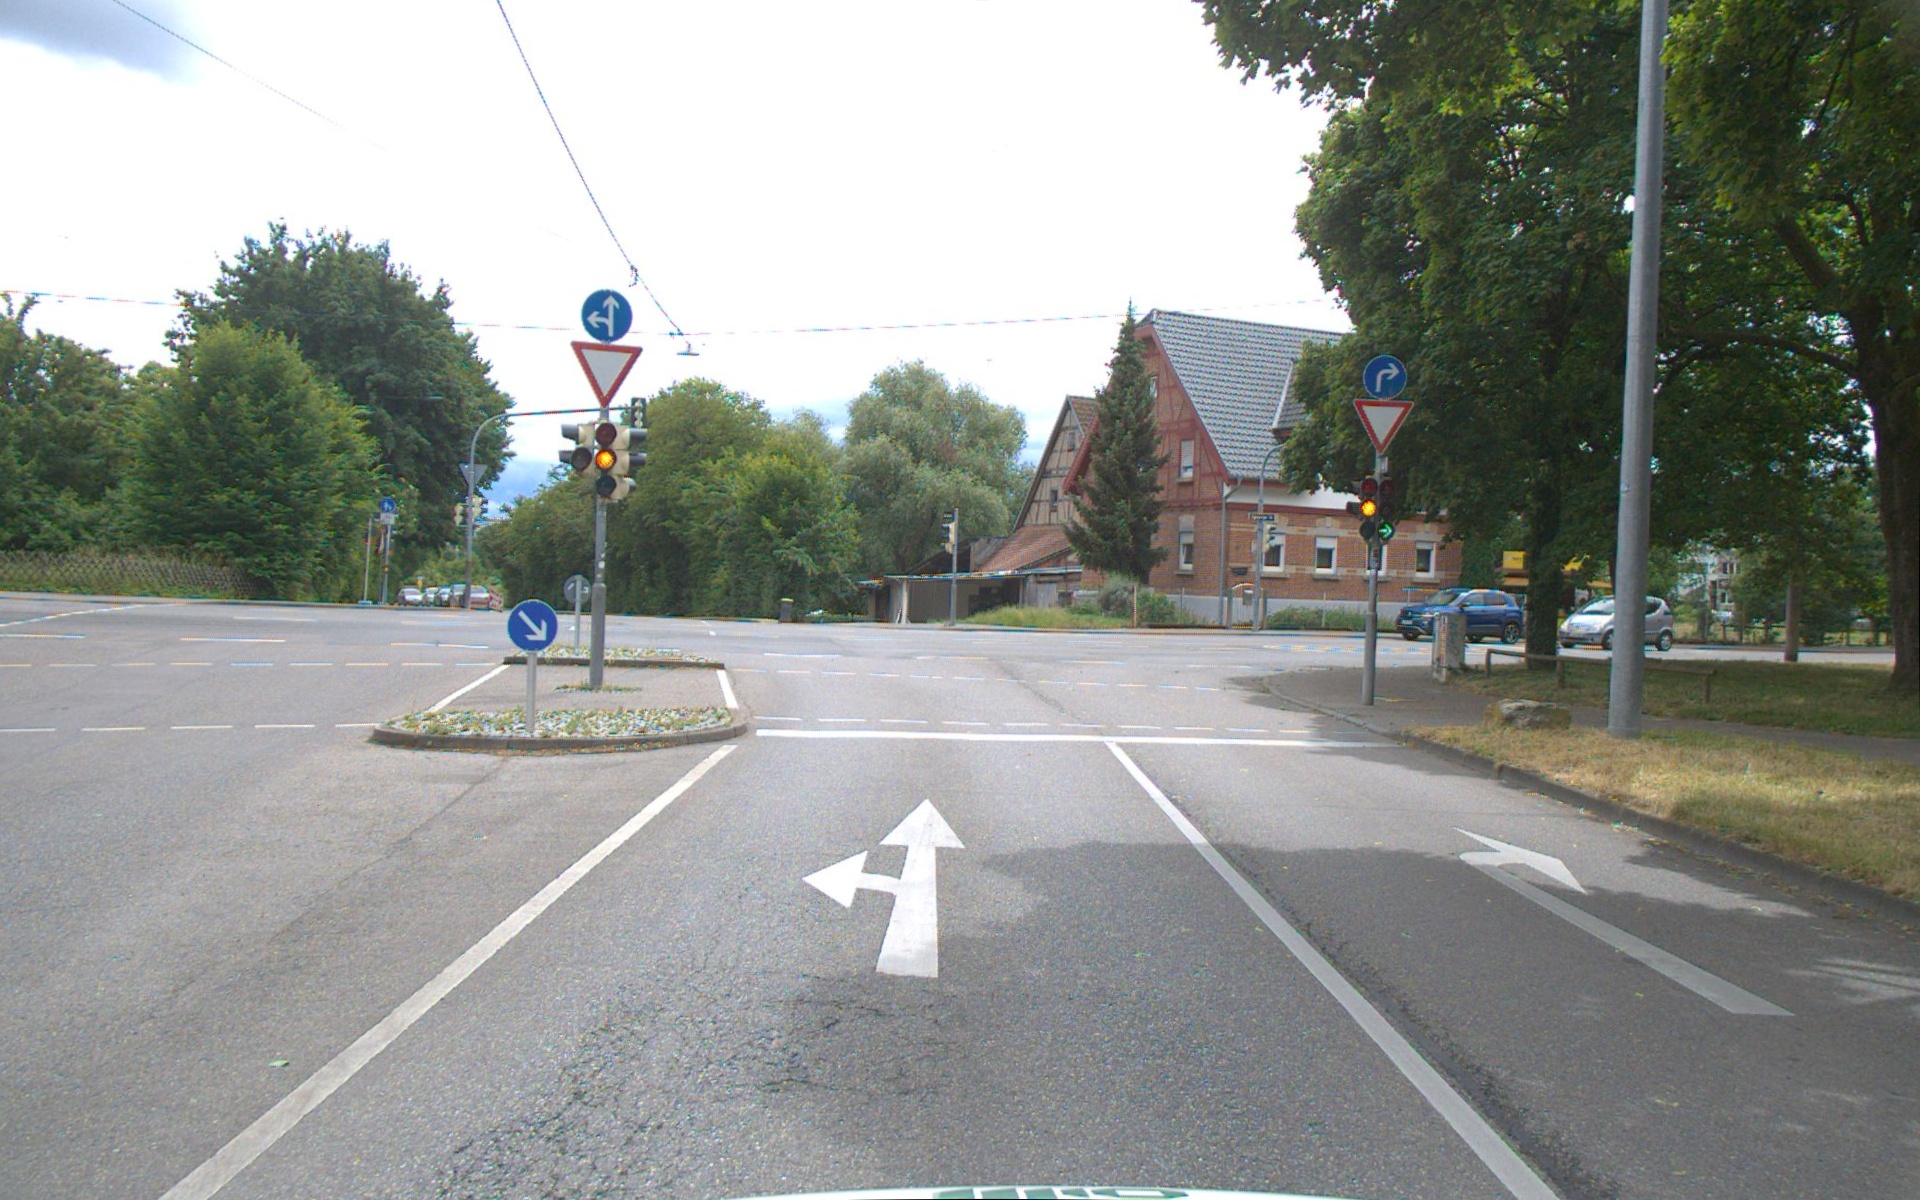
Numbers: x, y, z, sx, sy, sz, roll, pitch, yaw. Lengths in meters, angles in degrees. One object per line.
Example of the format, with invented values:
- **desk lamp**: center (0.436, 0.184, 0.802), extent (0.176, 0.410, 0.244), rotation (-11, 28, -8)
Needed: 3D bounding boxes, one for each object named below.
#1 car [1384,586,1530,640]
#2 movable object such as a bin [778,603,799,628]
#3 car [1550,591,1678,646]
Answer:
- **car**: center (14.990, 0.393, 49.873), extent (3.936, 1.545, 1.913), rotation (1, 0, -25)
- **movable object such as a bin**: center (-6.473, 0.584, 62.548), extent (0.579, 0.922, 0.603), rotation (2, 0, 16)
- **car**: center (19.183, 0.551, 48.480), extent (3.510, 1.545, 1.762), rotation (1, -1, -31)
